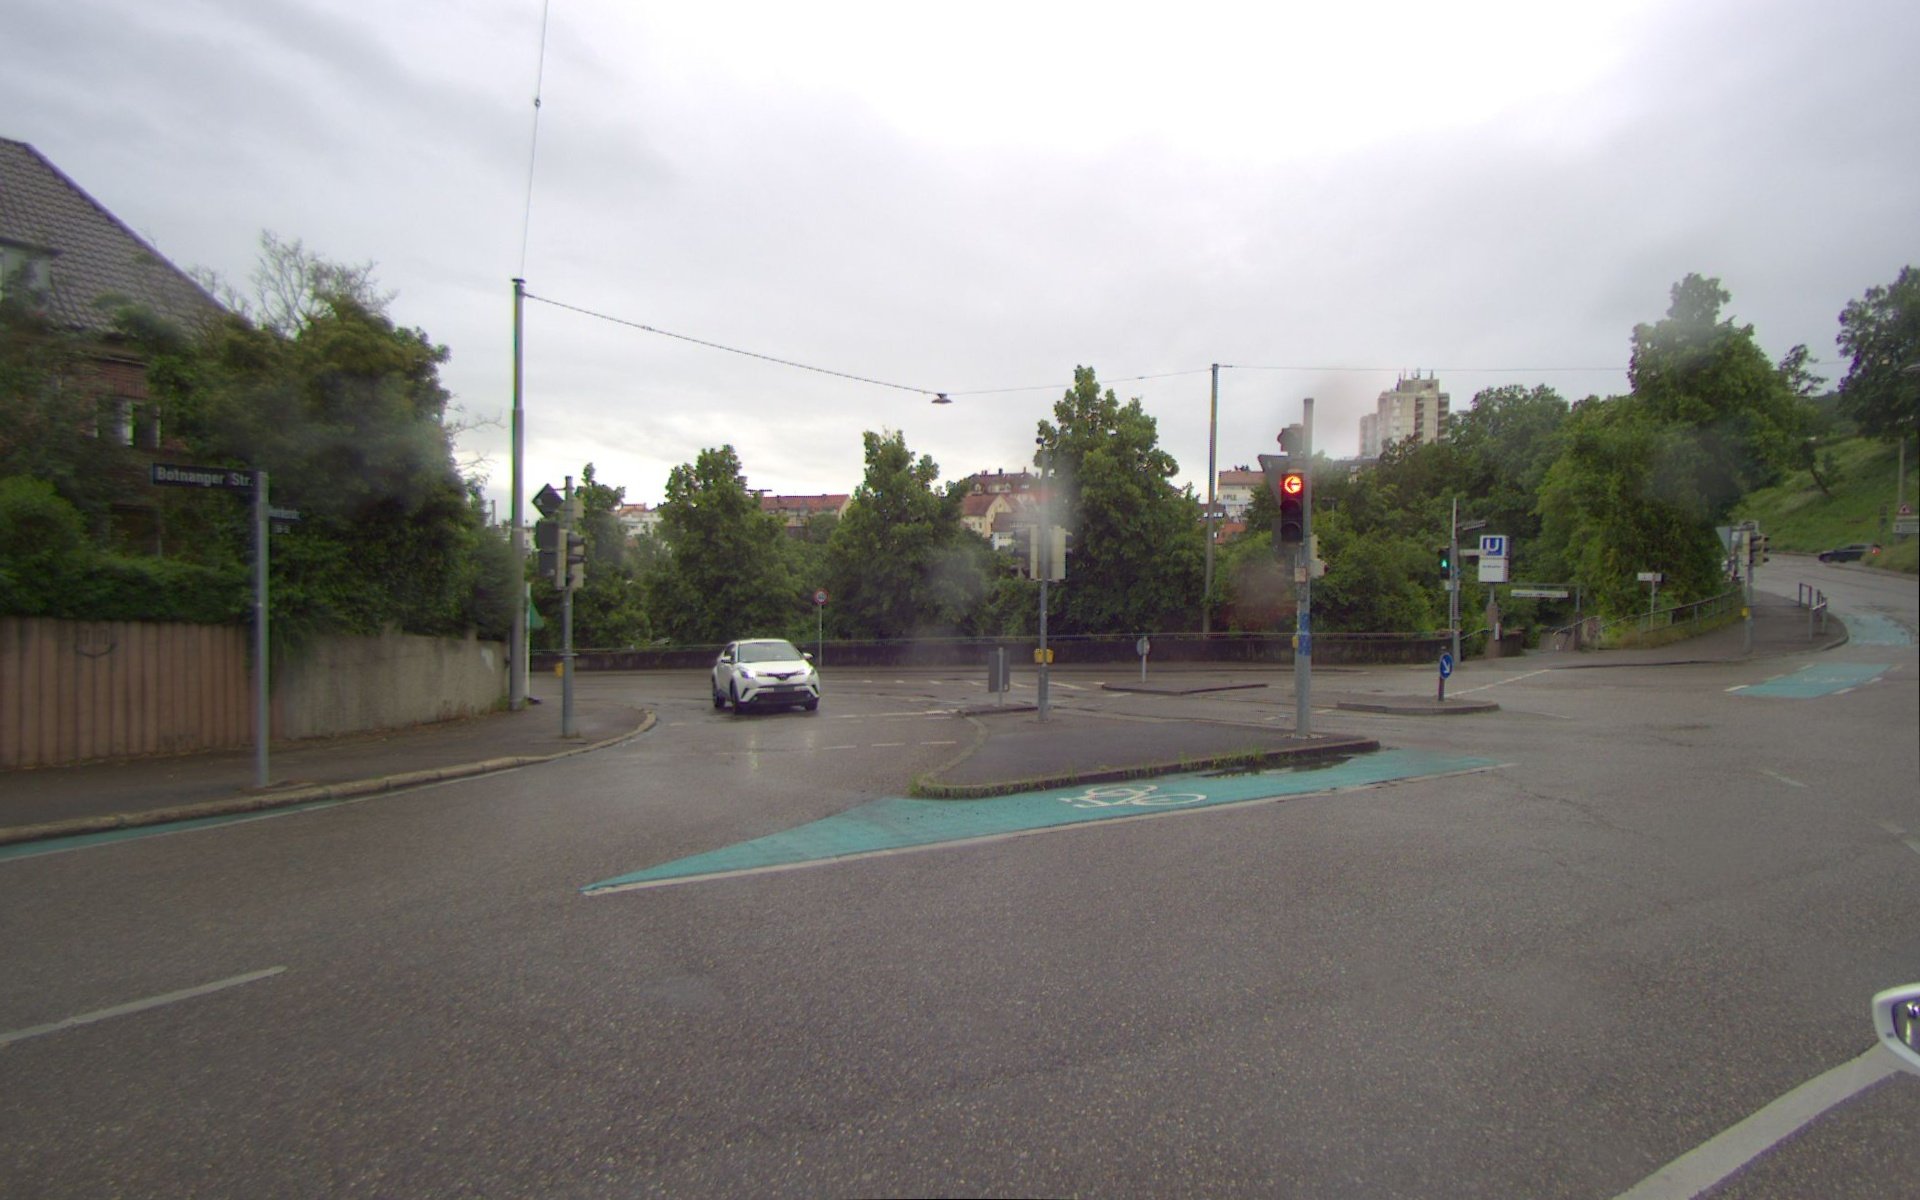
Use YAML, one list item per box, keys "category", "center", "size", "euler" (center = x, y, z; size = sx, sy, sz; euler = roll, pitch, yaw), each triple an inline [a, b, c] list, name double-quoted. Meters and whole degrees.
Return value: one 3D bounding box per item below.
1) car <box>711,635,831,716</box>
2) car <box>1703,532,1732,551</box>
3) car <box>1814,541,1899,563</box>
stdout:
- category: "car"
  center: [-4.217, 1.609, 21.943]
  size: [1.810, 1.527, 3.865]
  euler: [-2, -2, -22]
- category: "car"
  center: [75.550, -5.837, 100.221]
  size: [1.890, 1.805, 3.991]
  euler: [2, 2, 31]
- category: "car"
  center: [66.580, -3.549, 74.697]
  size: [1.931, 1.532, 4.388]
  euler: [-1, 2, -16]
